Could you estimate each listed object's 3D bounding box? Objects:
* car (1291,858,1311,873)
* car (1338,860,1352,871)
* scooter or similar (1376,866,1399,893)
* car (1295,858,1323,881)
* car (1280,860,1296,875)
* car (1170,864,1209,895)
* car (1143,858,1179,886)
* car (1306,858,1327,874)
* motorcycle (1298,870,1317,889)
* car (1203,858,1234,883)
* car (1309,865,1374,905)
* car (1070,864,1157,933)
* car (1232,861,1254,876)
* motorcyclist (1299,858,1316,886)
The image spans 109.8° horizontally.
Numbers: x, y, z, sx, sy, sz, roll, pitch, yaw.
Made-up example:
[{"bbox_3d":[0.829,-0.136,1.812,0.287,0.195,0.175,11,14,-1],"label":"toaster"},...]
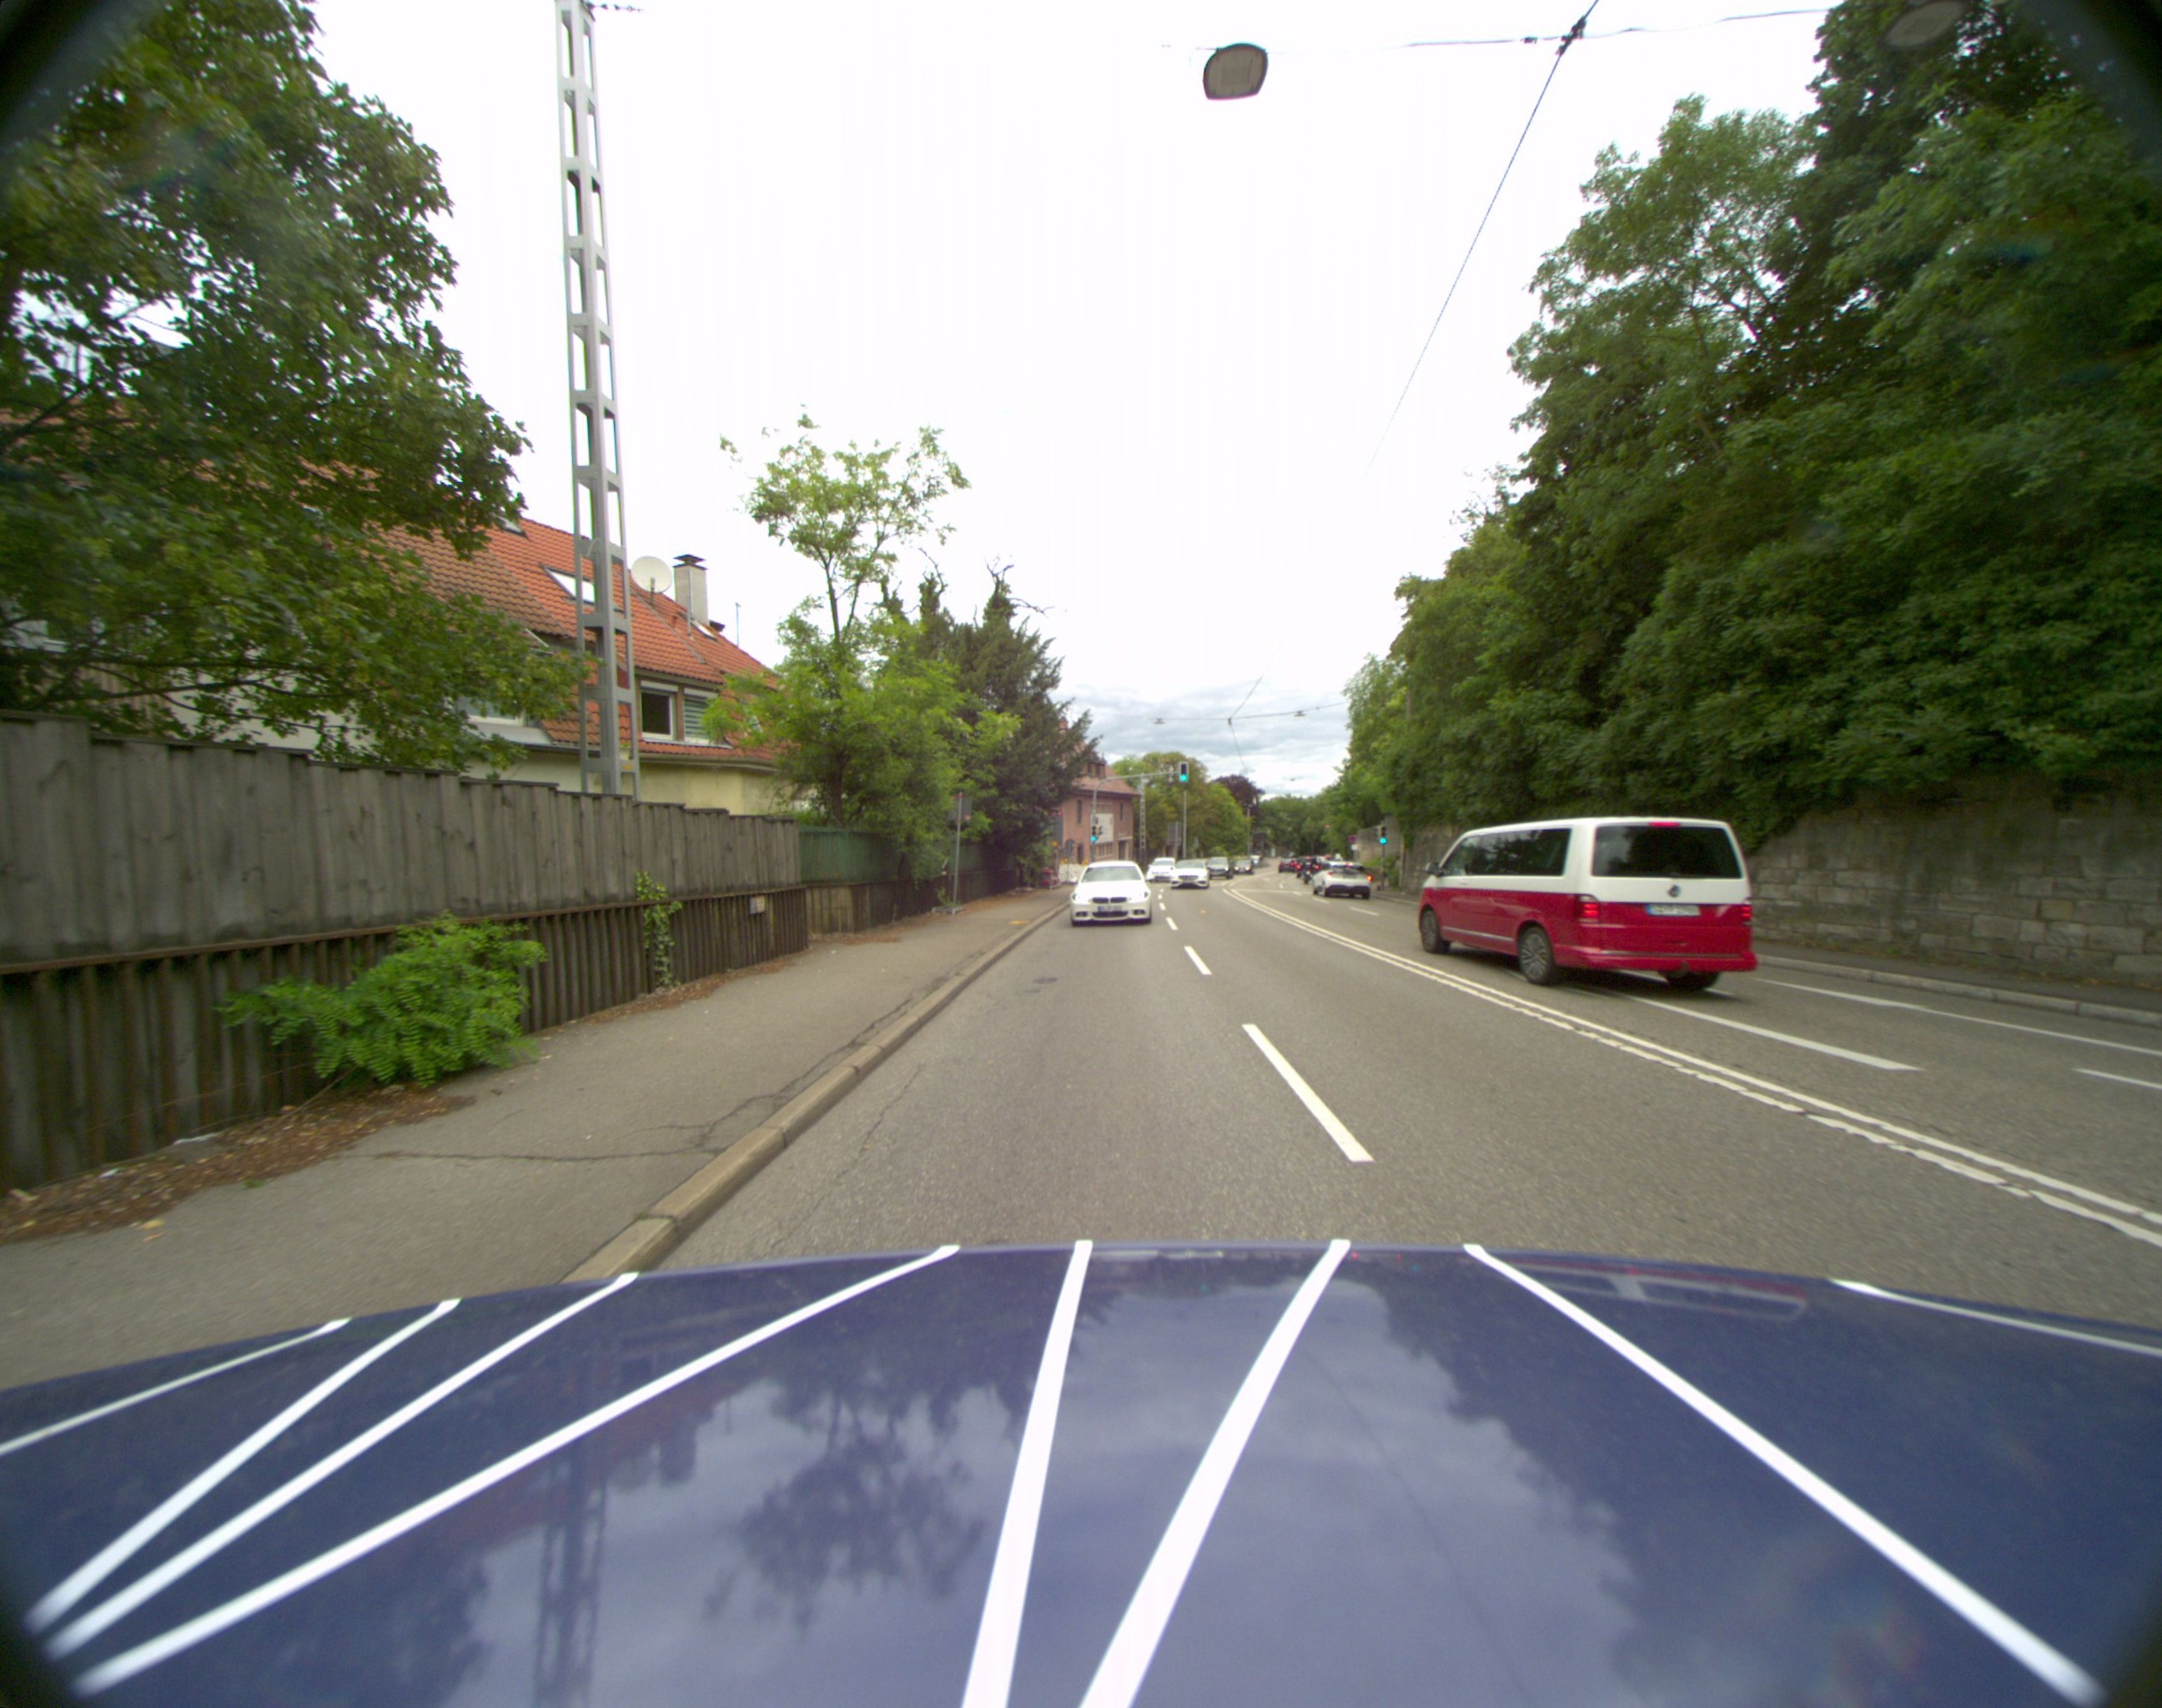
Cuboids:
[{"bbox_3d":[26.965,1.390,93.015,1.961,1.739,4.886,1,0,20],"label":"car"},{"bbox_3d":[43.765,1.898,125.987,1.895,1.837,4.403,1,0,17],"label":"car"},{"bbox_3d":[15.113,1.264,37.492,1.100,1.230,0.433,-4,0,-32],"label":"scooter or similar"},{"bbox_3d":[19.209,1.277,63.844,1.745,1.835,4.256,1,0,23],"label":"car"},{"bbox_3d":[23.397,1.514,85.950,1.757,1.557,3.684,1,0,15],"label":"car"},{"bbox_3d":[5.443,1.236,37.914,1.801,1.382,3.530,1,0,9],"label":"car"},{"bbox_3d":[5.292,1.140,49.642,1.956,1.761,4.004,1,0,11],"label":"car"},{"bbox_3d":[26.386,1.356,85.121,1.995,1.598,4.483,3,0,19],"label":"car"},{"bbox_3d":[14.336,1.594,48.145,0.651,1.067,2.309,2,0,4],"label":"motorcycle"},{"bbox_3d":[10.107,1.184,55.615,1.956,1.730,4.005,1,0,14],"label":"car"},{"bbox_3d":[10.946,1.240,32.220,1.785,1.458,4.103,2,0,8],"label":"car"},{"bbox_3d":[0.754,0.974,18.421,1.822,1.462,4.785,0,-1,2],"label":"car"},{"bbox_3d":[15.900,1.360,74.562,1.833,1.369,4.005,1,0,15],"label":"car"},{"bbox_3d":[14.321,1.131,48.063,0.650,1.695,1.339,2,0,4],"label":"motorcyclist"}]
